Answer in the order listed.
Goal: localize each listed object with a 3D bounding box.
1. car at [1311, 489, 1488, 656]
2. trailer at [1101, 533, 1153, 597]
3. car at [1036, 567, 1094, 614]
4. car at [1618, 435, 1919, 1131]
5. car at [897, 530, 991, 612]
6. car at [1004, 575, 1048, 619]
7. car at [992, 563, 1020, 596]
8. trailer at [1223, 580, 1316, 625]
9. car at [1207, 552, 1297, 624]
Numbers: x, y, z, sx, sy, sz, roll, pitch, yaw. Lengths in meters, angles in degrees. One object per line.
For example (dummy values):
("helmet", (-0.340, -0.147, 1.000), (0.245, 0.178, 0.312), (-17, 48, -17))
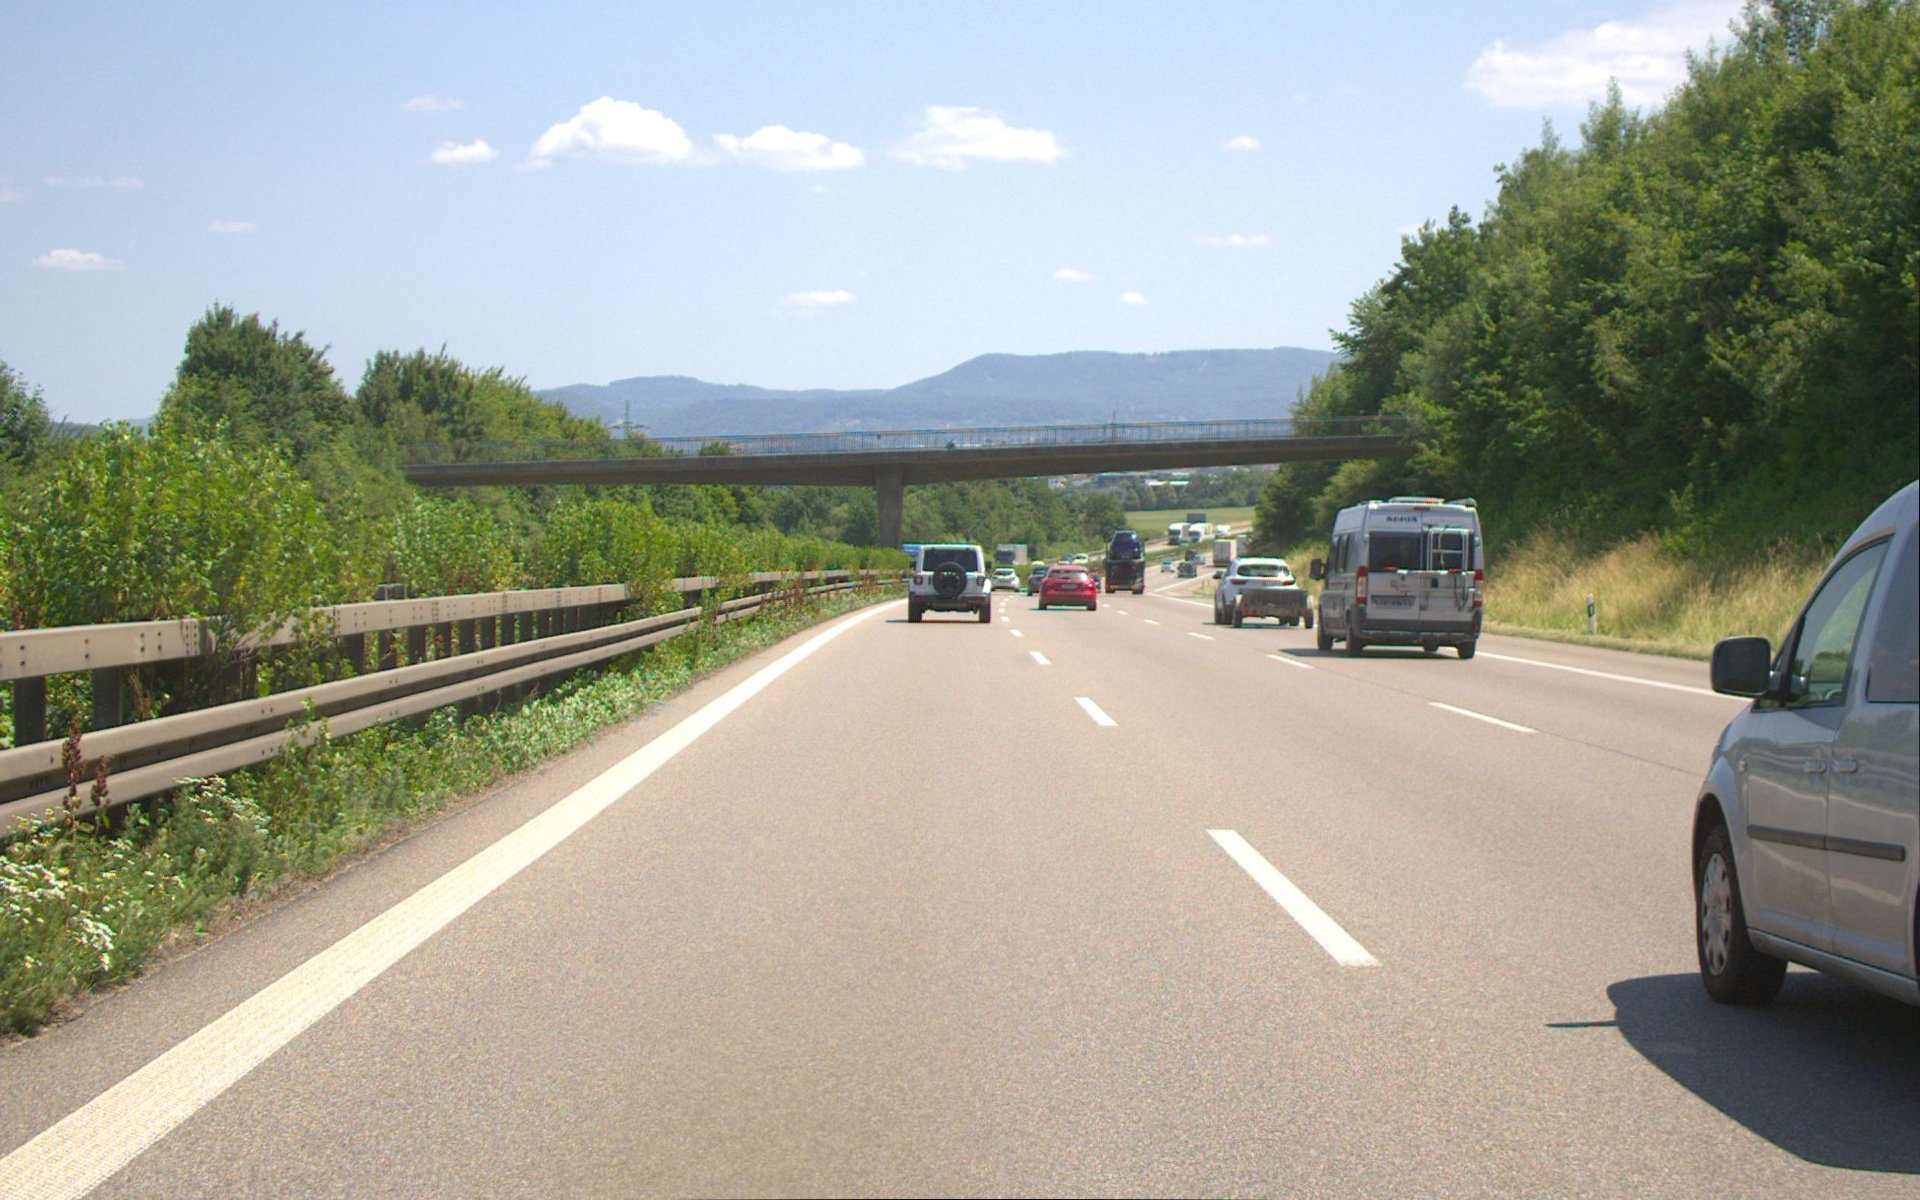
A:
("car", (7.228, -0.517, 57.186), (2.089, 2.567, 6.622), (1, 2, 0))
("trailer", (11.153, -2.395, 228.652), (2.855, 3.979, 15.394), (1, 2, 5))
("car", (3.314, -0.304, 109.077), (1.686, 1.374, 3.949), (1, 2, 0))
("car", (3.384, 0.454, 10.479), (1.745, 1.823, 4.801), (1, 2, -1))
("car", (-0.354, -0.721, 81.667), (2.083, 1.823, 4.754), (1, 2, 1))
("car", (3.179, -0.158, 166.398), (1.993, 2.007, 4.000), (1, 1, 0))
("car", (2.930, -1.329, 218.301), (1.698, 2.007, 3.822), (1, 1, 0))
("trailer", (7.242, 0.040, 80.857), (1.754, 0.905, 4.320), (1, 2, 0))
("car", (7.206, -0.329, 85.218), (1.781, 1.645, 4.403), (1, 2, 0))
